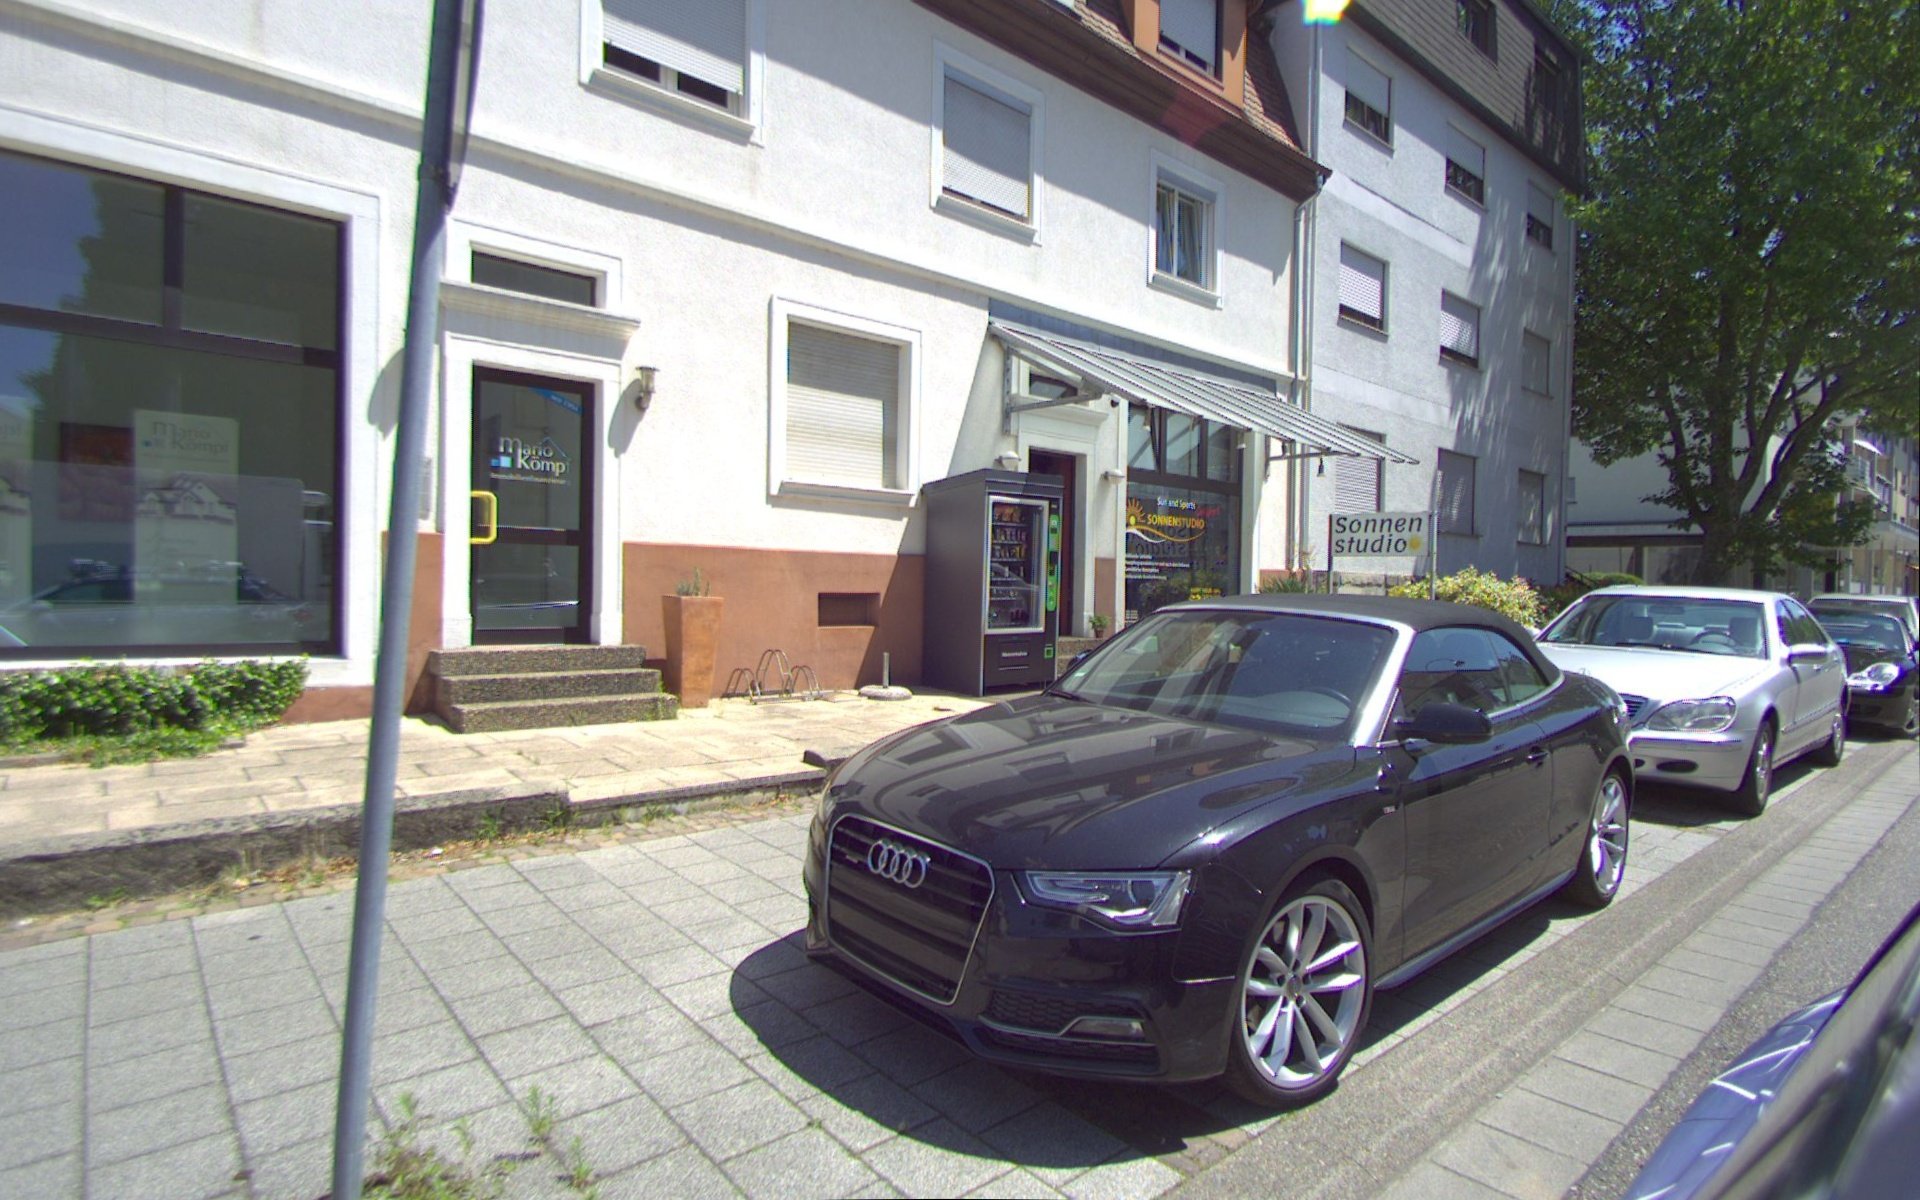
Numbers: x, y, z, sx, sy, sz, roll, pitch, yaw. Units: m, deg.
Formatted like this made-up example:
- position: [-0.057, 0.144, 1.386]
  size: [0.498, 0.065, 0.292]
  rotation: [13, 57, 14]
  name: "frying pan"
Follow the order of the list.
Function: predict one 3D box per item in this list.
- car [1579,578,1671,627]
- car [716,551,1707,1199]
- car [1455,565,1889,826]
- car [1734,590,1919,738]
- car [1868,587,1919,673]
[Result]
- position: [22.215, 0.047, 33.941]
  size: [1.715, 1.518, 3.443]
  rotation: [1, 2, 18]
  name: "car"
- position: [1.482, 0.584, 4.395]
  size: [4.618, 1.444, 1.831]
  rotation: [-1, 3, -41]
  name: "car"
- position: [5.986, 0.530, 8.247]
  size: [4.767, 1.486, 1.748]
  rotation: [-1, 4, -41]
  name: "car"
- position: [10.257, 0.594, 11.477]
  size: [4.101, 1.357, 1.561]
  rotation: [-1, 3, -42]
  name: "car"
- position: [19.030, 0.506, 19.569]
  size: [4.681, 1.530, 1.831]
  rotation: [-1, 0, -44]
  name: "car"
